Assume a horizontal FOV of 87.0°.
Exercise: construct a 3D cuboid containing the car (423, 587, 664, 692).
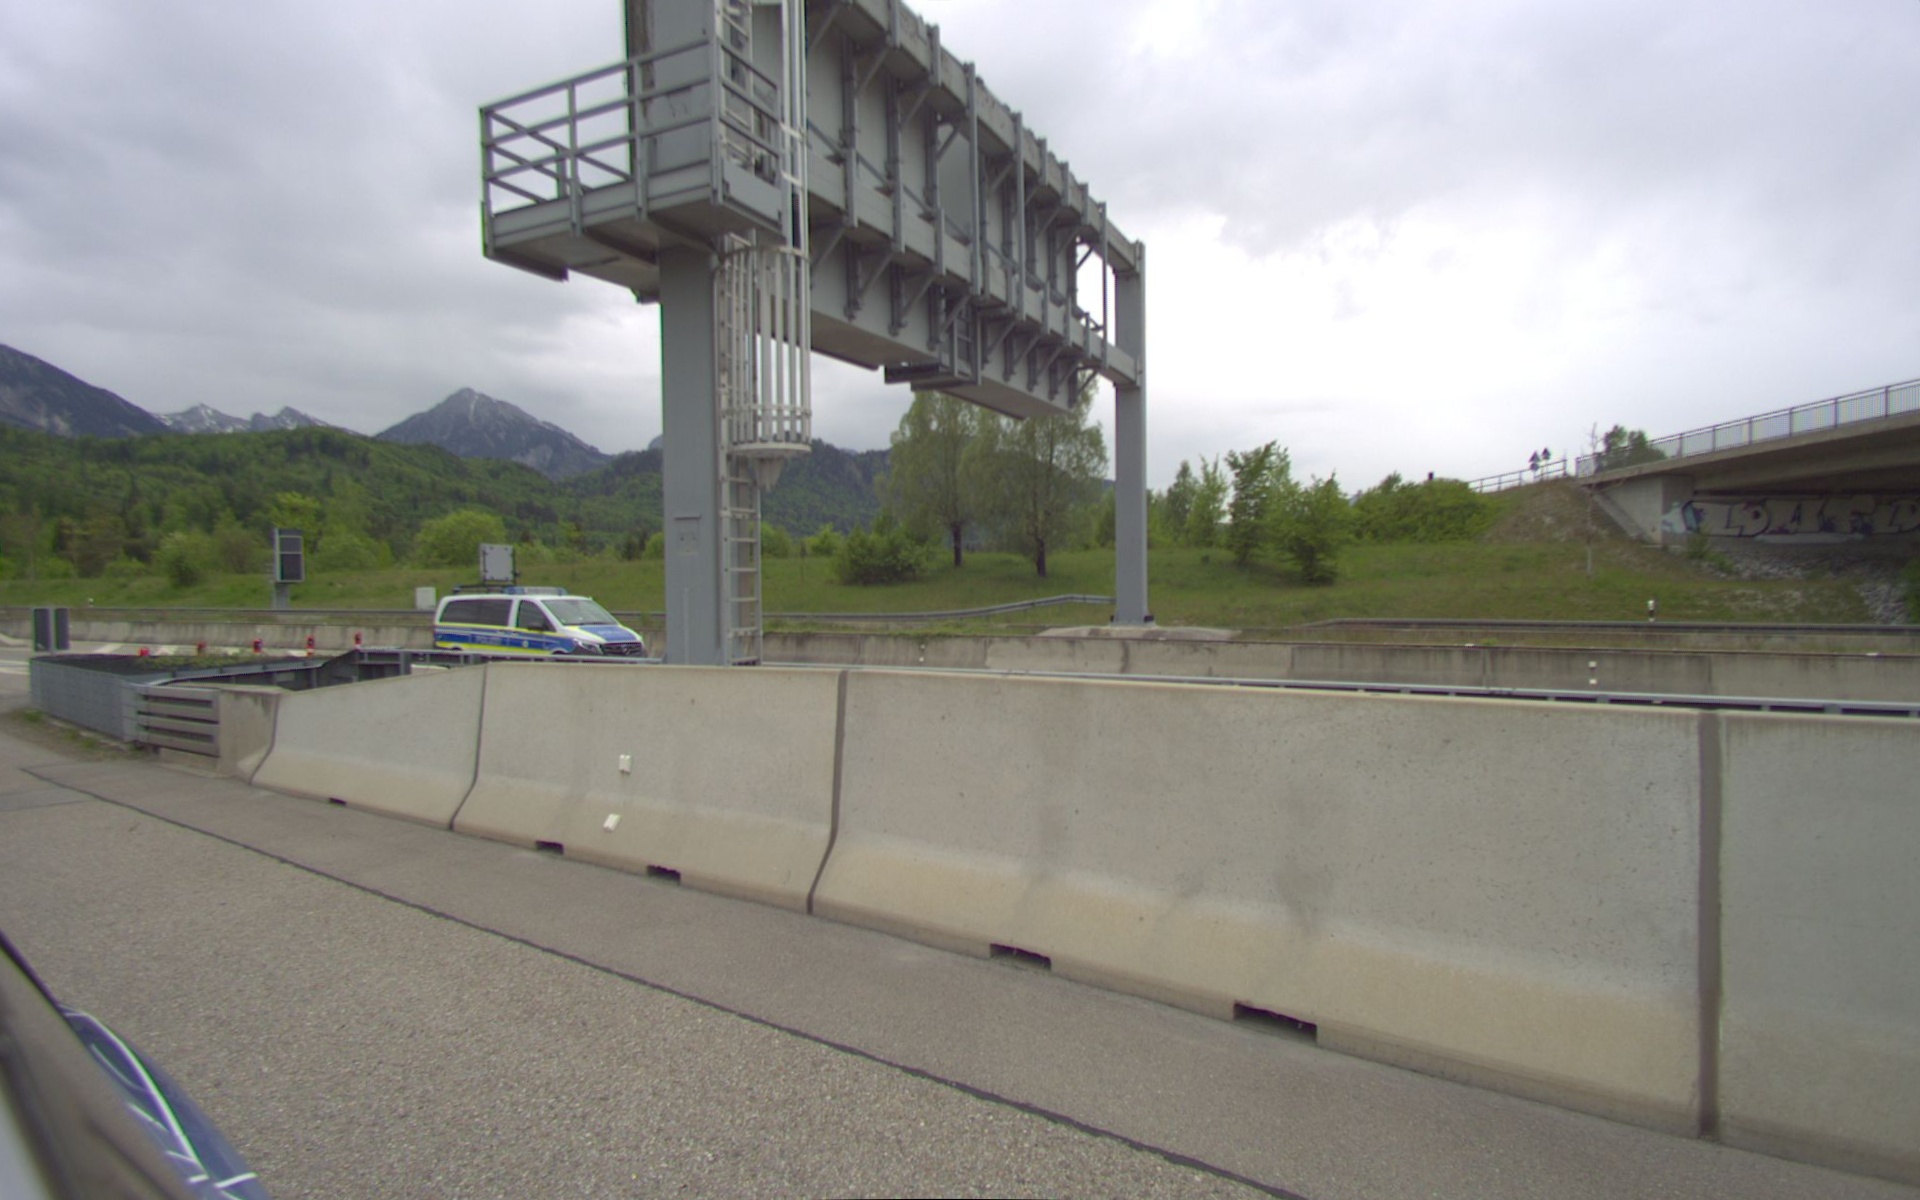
[{"bbox_3d":[-8.948,0.789,21.674,5.028,2.029,2.085,0,-1,28],"label":"car"}]
